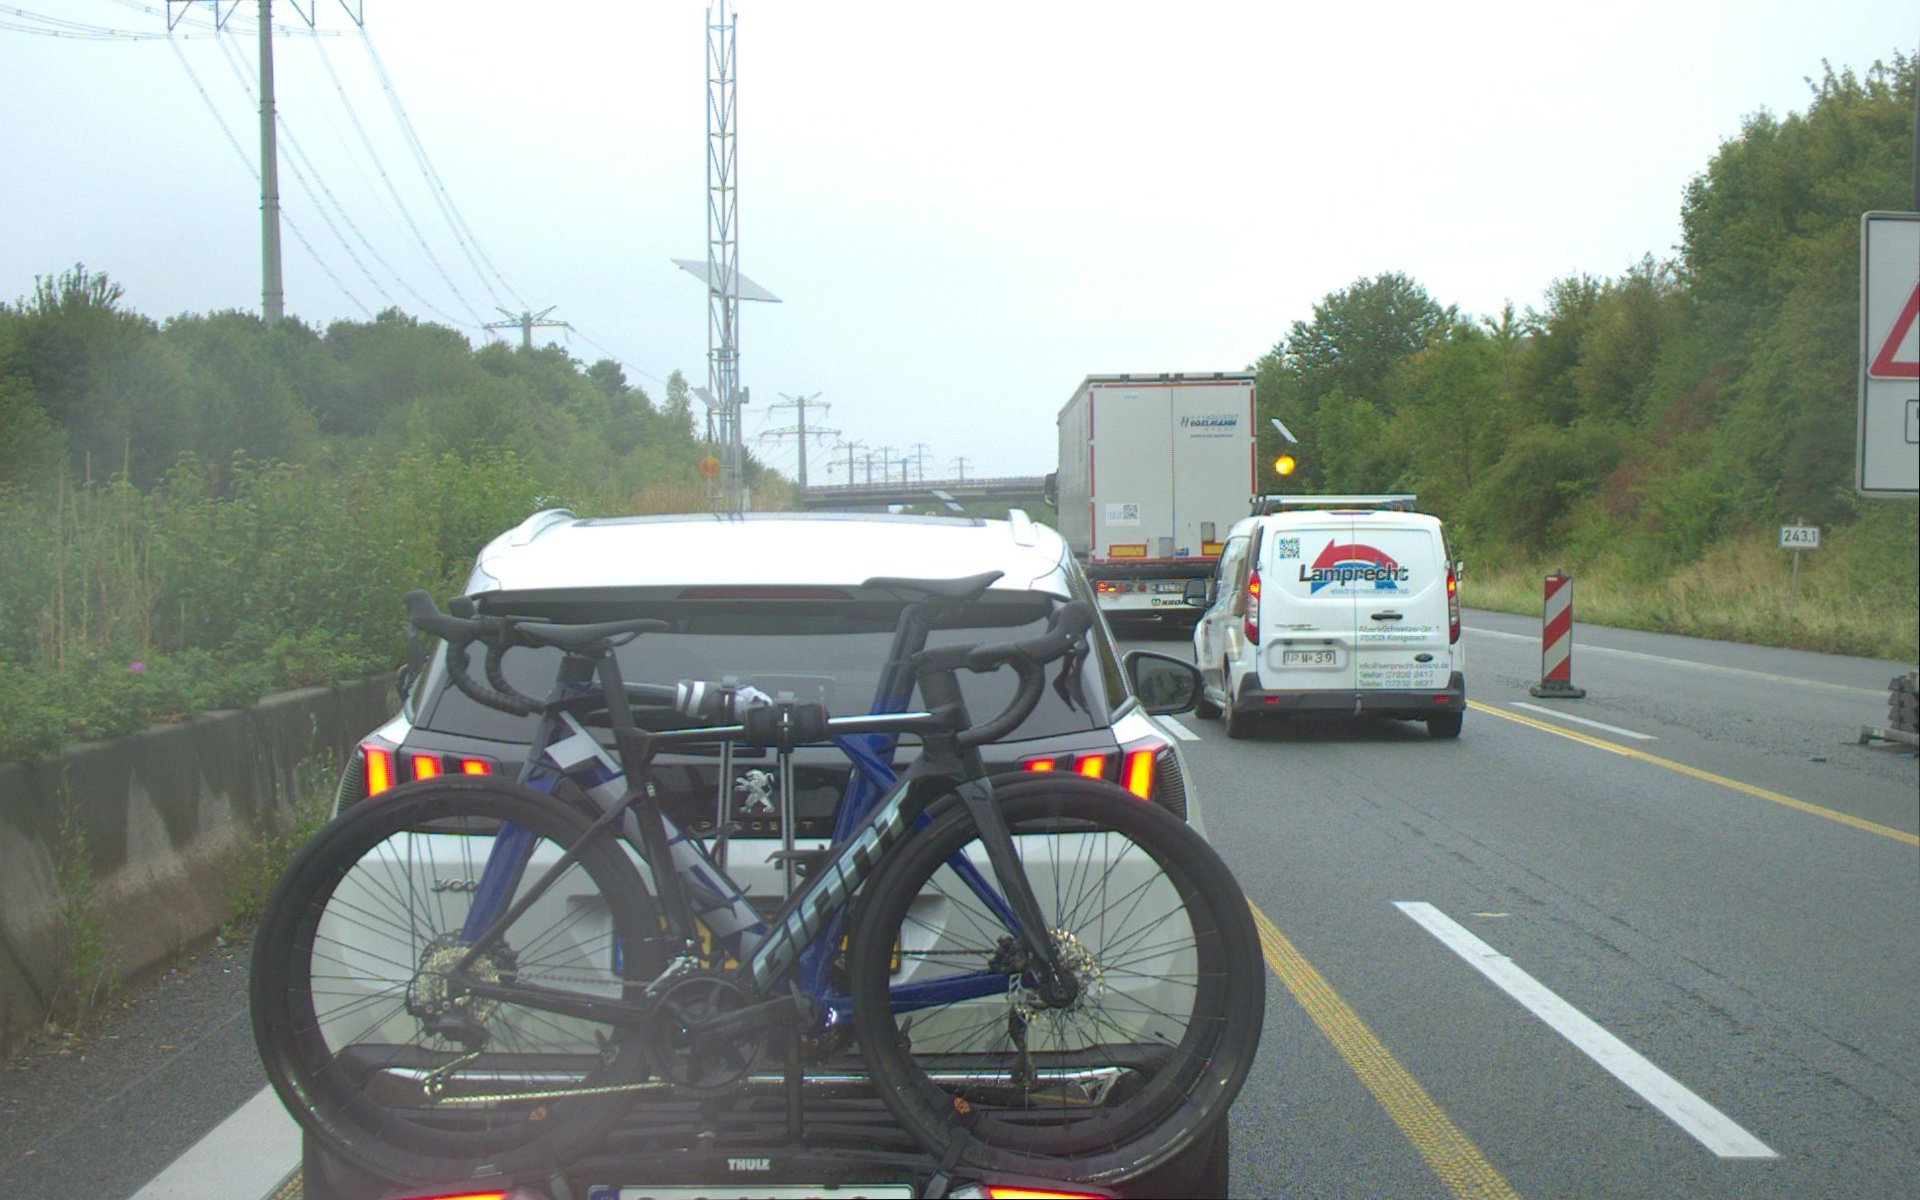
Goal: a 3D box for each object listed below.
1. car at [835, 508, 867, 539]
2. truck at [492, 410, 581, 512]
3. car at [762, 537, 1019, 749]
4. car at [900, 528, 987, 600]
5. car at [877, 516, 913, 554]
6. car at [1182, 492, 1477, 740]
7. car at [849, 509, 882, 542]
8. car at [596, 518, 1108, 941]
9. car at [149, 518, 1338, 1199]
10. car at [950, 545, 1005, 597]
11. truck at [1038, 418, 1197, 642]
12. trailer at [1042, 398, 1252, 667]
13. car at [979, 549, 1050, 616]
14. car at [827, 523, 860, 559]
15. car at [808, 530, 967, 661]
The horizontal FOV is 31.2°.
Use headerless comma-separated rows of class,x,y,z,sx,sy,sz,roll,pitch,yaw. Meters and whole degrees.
car,-6.971,-4.911,220.009,1.931,1.966,4.001,0,2,-1
truck,-17.844,-5.809,145.184,2.785,4.010,7.234,-3,1,-1
car,-0.524,0.272,26.787,1.850,1.525,4.000,0,1,-1
car,-0.367,-0.803,75.159,1.850,1.525,4.000,0,1,-1
car,-3.560,-3.568,188.521,1.931,1.966,4.001,0,2,-1
car,2.886,0.077,27.811,1.829,1.833,4.656,0,1,-1
car,-5.702,-4.487,207.338,1.931,1.904,4.001,0,2,-1
car,-0.414,0.432,14.424,1.850,1.525,4.000,0,1,-1
car,-0.364,0.593,7.745,1.850,1.525,4.769,0,1,-1
car,0.680,-1.178,138.528,2.148,1.966,4.001,0,2,-1
truck,2.935,-1.326,65.598,2.660,4.062,6.539,0,1,-1
trailer,2.984,-1.146,58.663,2.692,4.062,13.634,0,1,-1
car,1.690,-0.563,108.359,2.110,1.966,4.001,0,2,-1
car,-8.215,-4.170,242.807,2.257,2.416,4.001,0,2,-1
car,-0.871,-0.091,42.173,1.850,1.525,4.000,0,1,-1
